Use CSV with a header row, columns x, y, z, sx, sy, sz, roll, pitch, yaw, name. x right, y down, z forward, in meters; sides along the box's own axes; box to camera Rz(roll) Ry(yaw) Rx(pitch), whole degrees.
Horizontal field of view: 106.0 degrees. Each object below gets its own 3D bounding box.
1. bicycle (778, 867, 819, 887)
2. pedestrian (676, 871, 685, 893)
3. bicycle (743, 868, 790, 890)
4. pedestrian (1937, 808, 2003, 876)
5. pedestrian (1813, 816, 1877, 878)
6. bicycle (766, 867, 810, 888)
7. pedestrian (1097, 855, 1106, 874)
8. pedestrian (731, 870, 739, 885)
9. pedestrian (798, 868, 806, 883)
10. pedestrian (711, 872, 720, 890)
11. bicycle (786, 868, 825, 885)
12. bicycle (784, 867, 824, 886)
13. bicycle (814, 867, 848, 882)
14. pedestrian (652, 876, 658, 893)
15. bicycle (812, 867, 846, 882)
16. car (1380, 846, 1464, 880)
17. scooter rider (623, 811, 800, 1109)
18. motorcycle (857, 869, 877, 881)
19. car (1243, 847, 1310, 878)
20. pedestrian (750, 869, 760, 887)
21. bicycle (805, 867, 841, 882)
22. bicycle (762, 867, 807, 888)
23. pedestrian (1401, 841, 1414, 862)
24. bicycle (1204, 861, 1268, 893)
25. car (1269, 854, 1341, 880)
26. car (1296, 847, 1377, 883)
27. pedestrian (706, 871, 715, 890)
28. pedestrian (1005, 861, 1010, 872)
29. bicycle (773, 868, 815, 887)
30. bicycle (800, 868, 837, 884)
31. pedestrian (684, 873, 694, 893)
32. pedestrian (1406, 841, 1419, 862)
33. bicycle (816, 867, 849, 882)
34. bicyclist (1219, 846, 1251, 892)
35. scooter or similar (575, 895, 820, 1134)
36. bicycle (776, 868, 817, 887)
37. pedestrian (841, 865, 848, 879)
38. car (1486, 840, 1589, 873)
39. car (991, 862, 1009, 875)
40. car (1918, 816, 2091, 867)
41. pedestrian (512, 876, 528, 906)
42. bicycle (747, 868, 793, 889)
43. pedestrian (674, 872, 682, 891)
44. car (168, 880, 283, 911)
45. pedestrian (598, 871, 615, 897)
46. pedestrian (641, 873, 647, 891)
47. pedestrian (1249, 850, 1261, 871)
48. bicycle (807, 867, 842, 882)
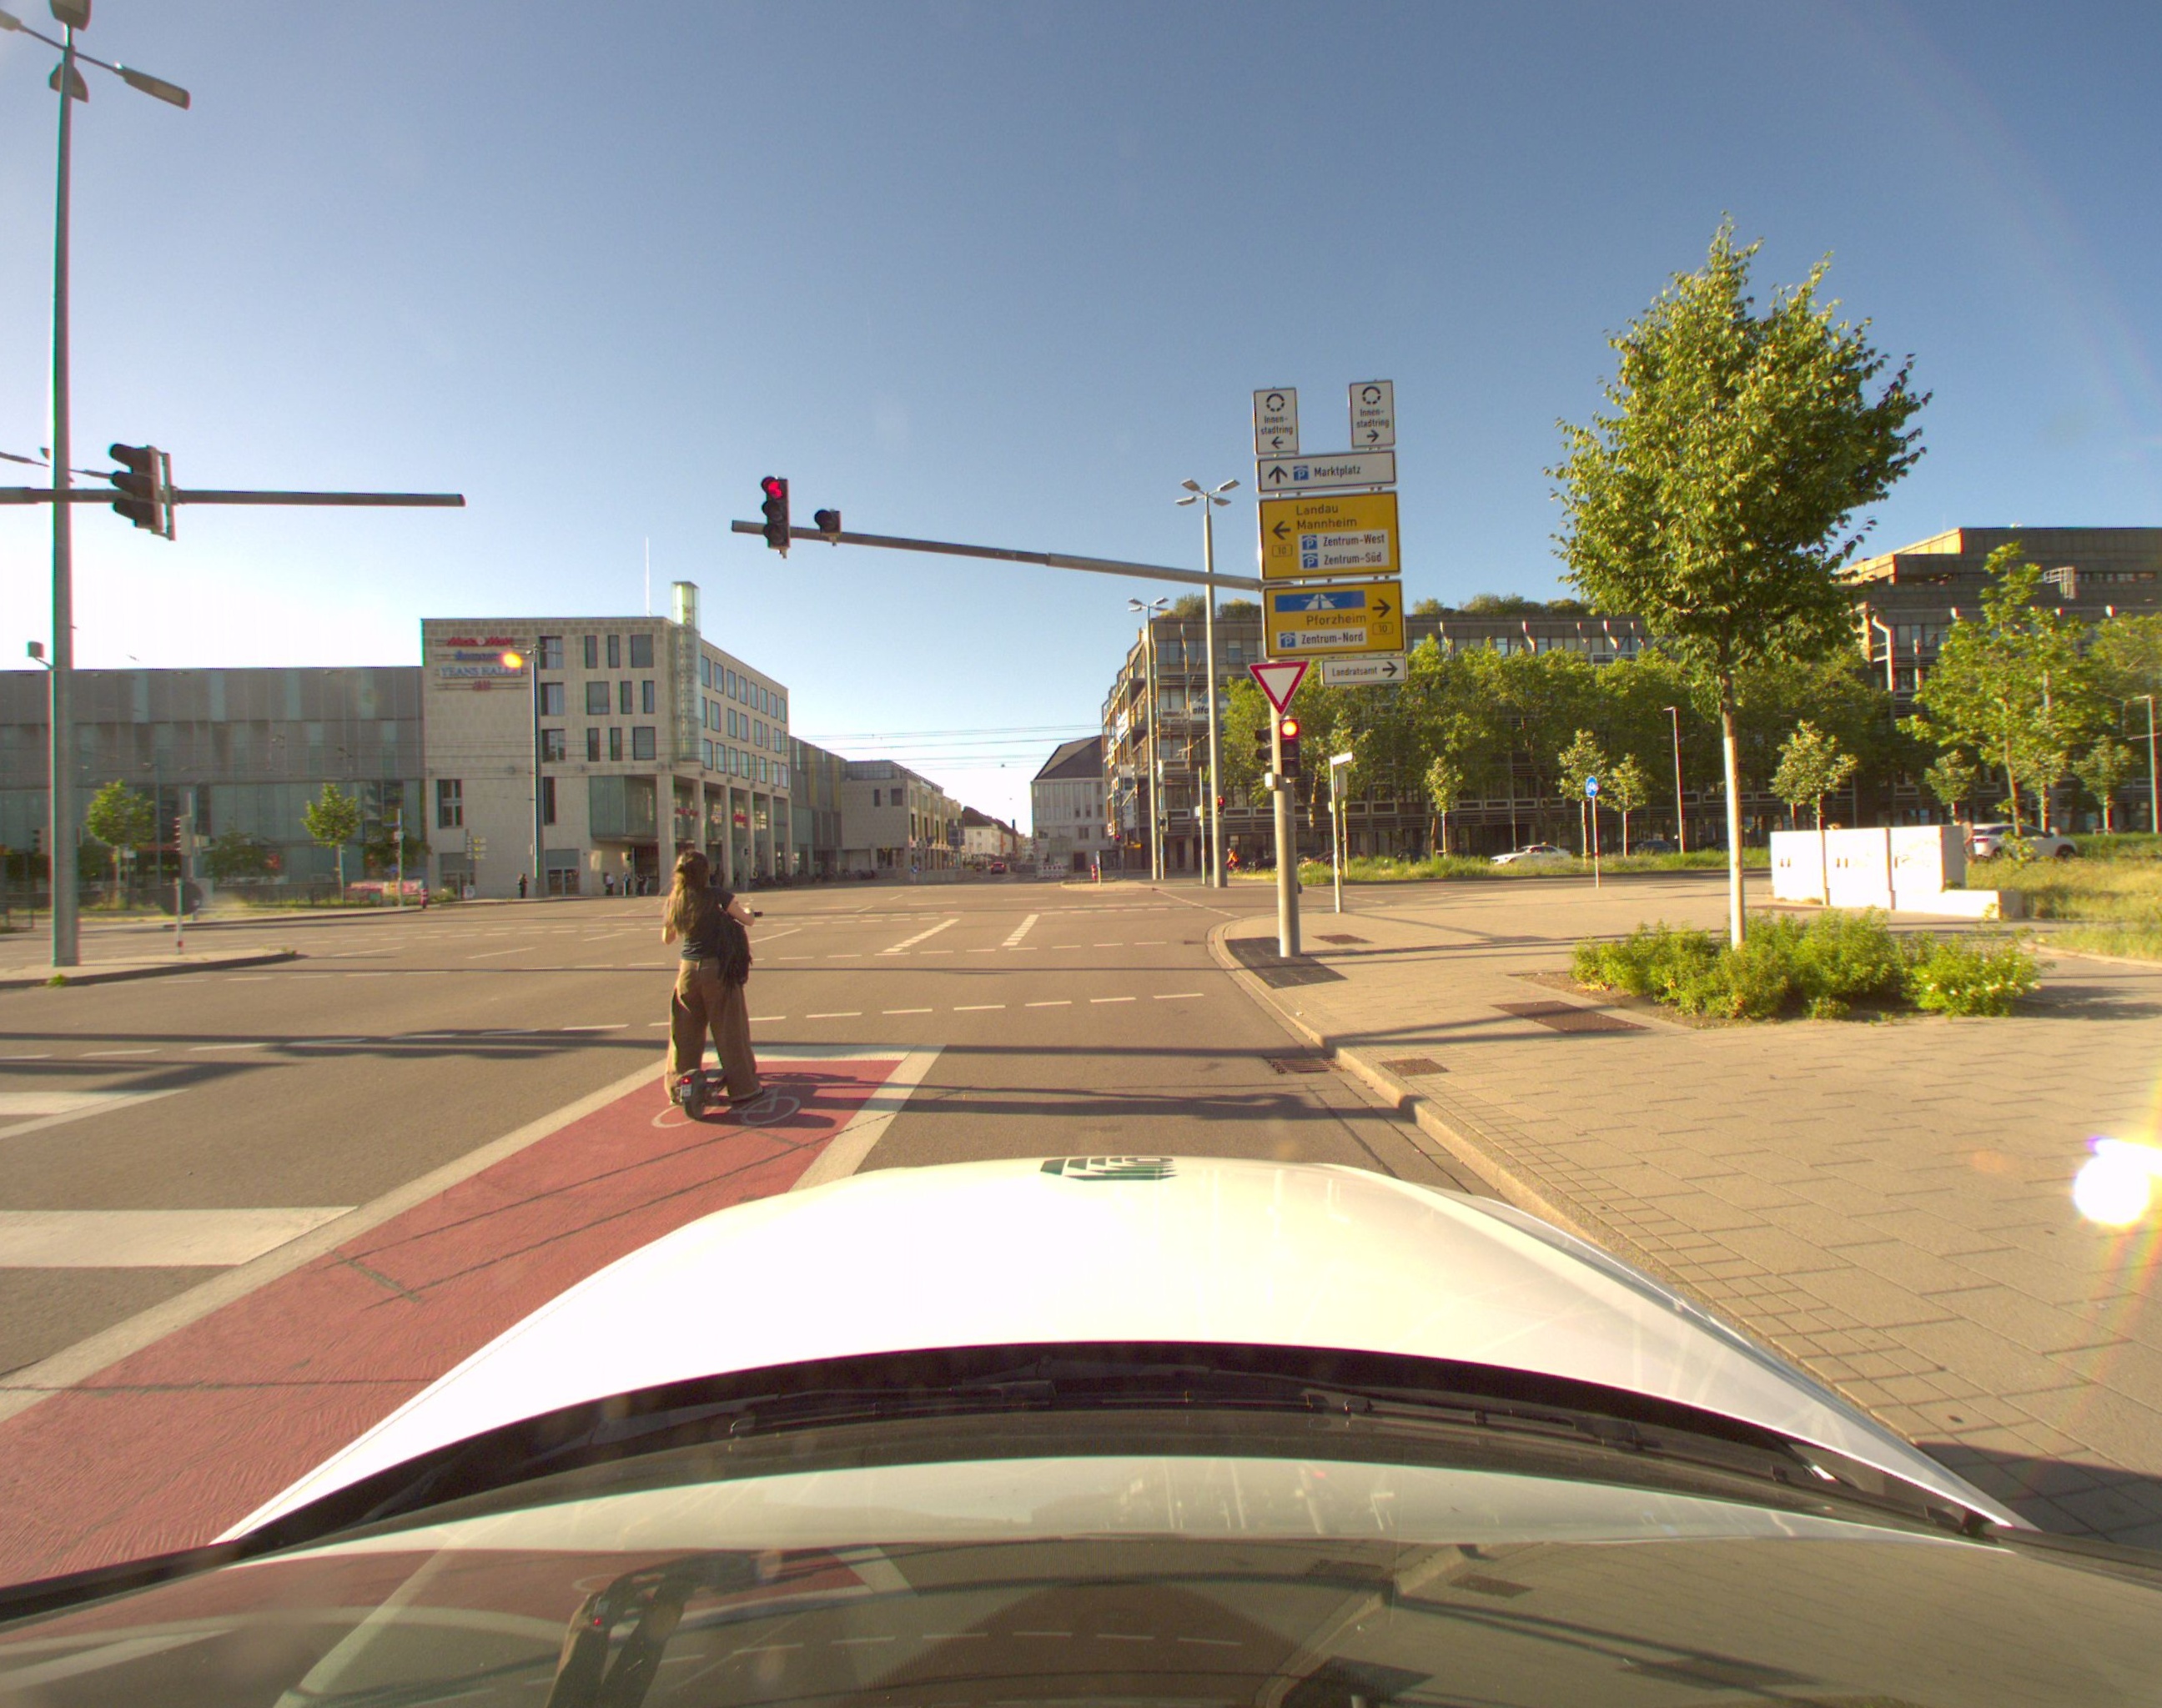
x,y,z,sx,sy,sz,roll,pitch,yaw,name
-27.046,2.204,78.068,3.491,1.696,0.984,-2,0,-10,bicycle
-30.449,2.145,61.955,0.543,1.642,0.546,-2,0,-24,pedestrian
-26.733,2.090,69.295,3.488,1.696,1.114,-2,0,-7,bicycle
23.661,-0.312,21.688,0.694,1.728,0.939,-2,0,-12,pedestrian
20.859,-0.177,22.248,0.801,1.630,0.939,-2,0,-12,pedestrian
-26.322,2.109,73.177,3.488,1.696,1.114,-2,0,-7,bicycle
1.774,0.896,69.768,0.661,1.658,0.755,-2,0,-1,pedestrian
-33.641,2.280,79.189,0.640,1.435,0.472,-2,0,-21,pedestrian
-30.016,2.315,87.522,0.652,1.642,0.693,-2,0,-7,pedestrian
-32.148,2.379,71.667,0.480,1.510,0.513,-2,0,-3,pedestrian
-27.412,2.220,81.162,3.491,1.527,0.984,-2,0,-10,bicycle
-27.250,2.228,80.165,3.491,1.696,0.984,-2,0,-10,bicycle
-28.175,2.285,91.750,3.491,1.527,0.984,-2,0,-10,bicycle
-34.691,2.480,66.293,0.388,1.412,0.434,-2,0,-27,pedestrian
-27.932,2.243,90.357,3.491,1.527,0.984,-2,0,-10,bicycle
21.404,0.558,51.248,4.435,2.014,1.998,0,-1,-4,car
-2.362,0.635,5.296,0.726,1.775,0.811,-1,0,1,scooter rider
-25.970,2.528,98.868,2.269,1.318,0.719,-2,0,-4,motorcycle
12.838,0.557,53.625,3.975,2.014,1.999,0,-1,-1,car
-30.316,2.244,75.749,0.788,1.642,0.689,-2,0,-27,pedestrian
-27.655,2.205,87.452,3.491,1.527,0.984,-2,0,-10,bicycle
-26.146,2.064,71.956,3.488,1.696,1.114,-2,0,-7,bicycle
26.232,-0.163,65.513,0.662,1.658,0.739,-2,0,-5,pedestrian
8.925,1.312,47.068,3.488,1.659,0.929,-2,0,-7,bicycle
13.851,0.779,50.477,3.976,1.508,1.867,-1,0,-2,car
14.452,0.616,46.210,3.975,2.014,1.999,0,-1,-1,car
-32.331,2.303,71.021,0.480,1.585,0.513,-2,0,-3,pedestrian
-9.756,1.688,108.692,0.608,1.411,0.569,-2,0,-5,pedestrian
-26.682,2.174,75.763,3.491,1.696,0.984,-2,0,-10,bicycle
-27.550,2.284,85.583,3.491,1.527,0.984,-2,0,-10,bicycle
-33.006,2.446,68.605,0.480,1.585,0.598,-2,0,-3,pedestrian
26.318,-0.171,64.603,0.662,1.658,0.739,-2,0,-5,pedestrian
-28.292,2.322,92.781,3.491,1.527,0.984,-2,0,-10,bicycle
8.884,0.851,47.072,1.566,2.580,0.929,-2,0,-7,bicyclist
-2.352,0.917,5.261,0.725,1.202,1.665,-1,0,2,scooter or similar
-26.858,2.193,76.860,3.491,1.696,0.984,-2,0,-10,bicycle
-30.329,2.309,104.648,0.696,1.642,0.693,-2,0,-5,pedestrian
28.892,0.141,51.655,5.424,2.014,2.097,0,-1,-1,car
-10.793,1.877,108.863,2.195,1.607,4.320,-2,0,-4,car
33.208,-0.447,29.356,4.387,1.660,1.995,-2,1,-7,car
-32.624,2.144,47.377,0.525,1.694,0.546,-2,0,-8,pedestrian
-26.911,2.101,70.490,3.488,1.696,1.114,-2,0,-7,bicycle
-34.095,2.318,68.905,0.385,1.585,0.367,-2,0,-3,pedestrian
-51.247,2.447,48.869,4.459,1.607,1.996,-2,0,-5,car
-34.069,2.166,58.469,0.755,1.798,0.736,-2,0,-2,pedestrian
-35.182,2.214,65.552,0.388,1.426,0.499,-2,0,-23,pedestrian
14.169,0.535,66.341,0.728,1.658,0.649,-2,0,-5,pedestrian
-27.924,2.205,88.580,3.491,1.527,0.984,-2,0,-10,bicycle
